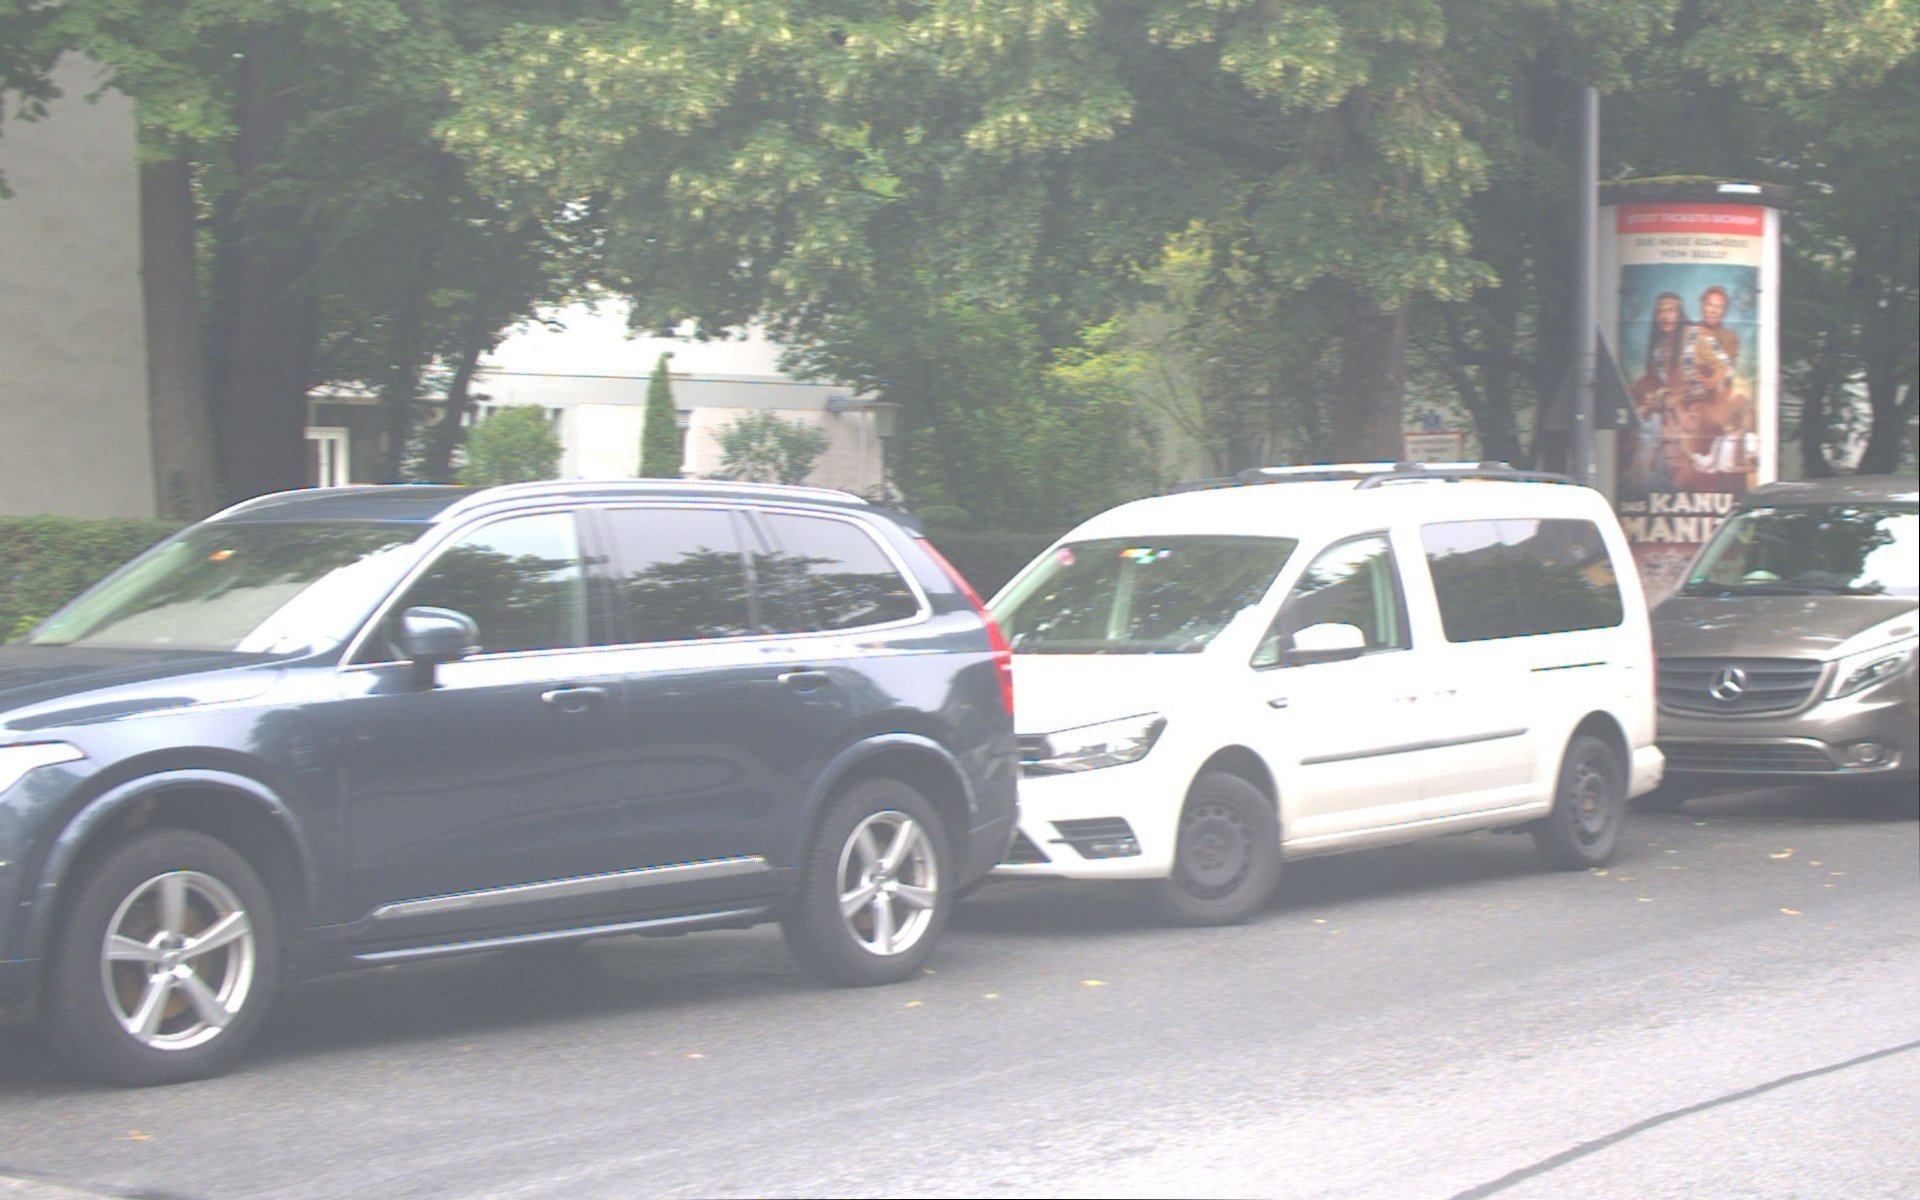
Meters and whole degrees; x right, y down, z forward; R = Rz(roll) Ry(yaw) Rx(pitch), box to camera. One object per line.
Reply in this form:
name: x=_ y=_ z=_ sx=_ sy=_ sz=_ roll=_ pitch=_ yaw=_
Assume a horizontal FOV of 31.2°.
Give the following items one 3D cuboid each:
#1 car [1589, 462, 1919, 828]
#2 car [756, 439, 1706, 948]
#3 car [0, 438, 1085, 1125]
car: x=5.784 y=0.202 z=20.794 sx=1.891 sy=1.927 sz=5.197 roll=0 pitch=1 yaw=35
car: x=1.395 y=0.316 z=15.367 sx=1.834 sy=1.912 sz=4.838 roll=0 pitch=1 yaw=39
car: x=-1.877 y=0.440 z=11.237 sx=1.998 sy=1.785 sz=4.902 roll=0 pitch=1 yaw=40
